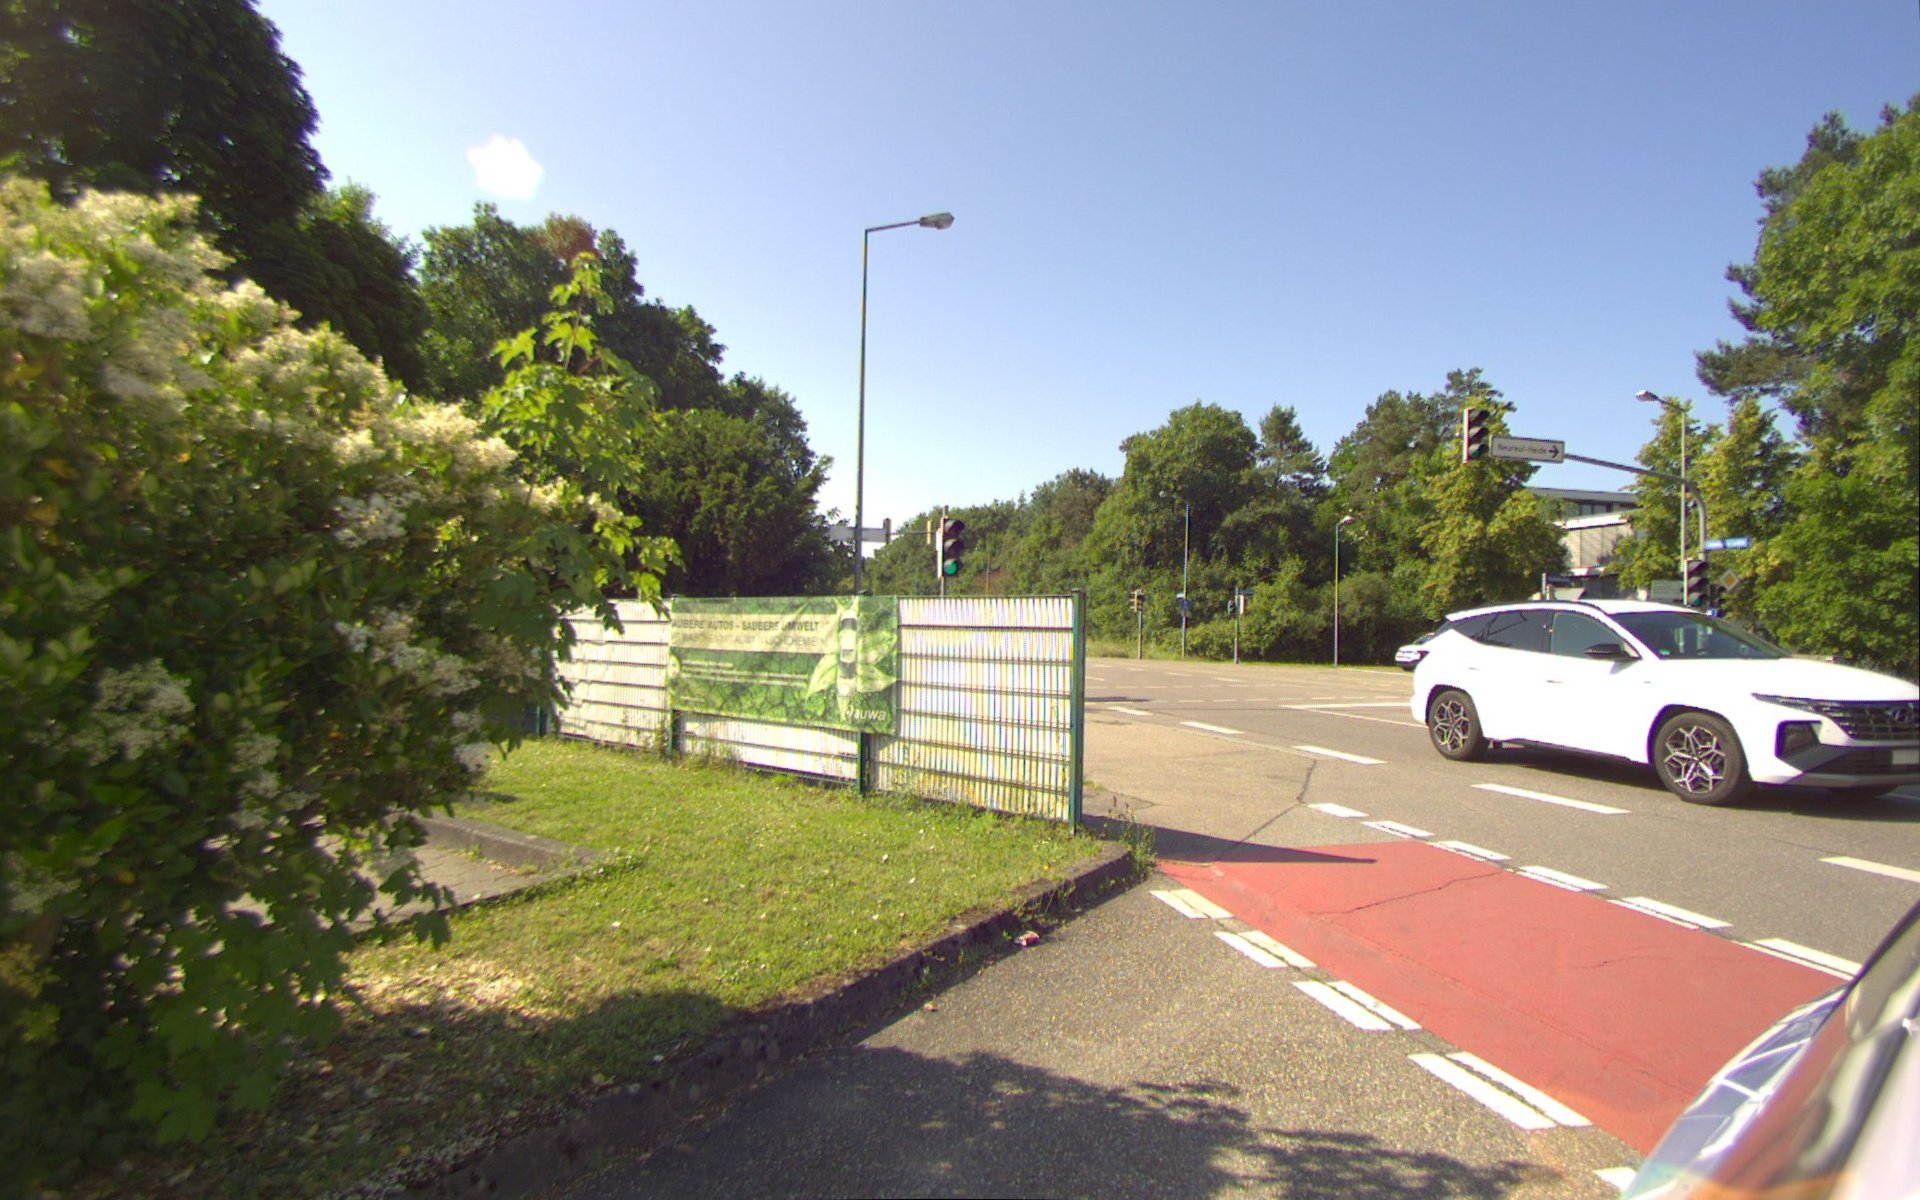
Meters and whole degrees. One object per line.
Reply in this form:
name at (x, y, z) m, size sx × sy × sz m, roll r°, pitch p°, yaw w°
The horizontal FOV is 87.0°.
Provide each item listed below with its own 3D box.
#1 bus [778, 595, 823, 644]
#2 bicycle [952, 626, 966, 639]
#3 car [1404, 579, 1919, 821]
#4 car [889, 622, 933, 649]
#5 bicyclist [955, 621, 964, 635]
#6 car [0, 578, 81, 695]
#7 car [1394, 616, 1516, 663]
bus at (-12.176, 1.416, 76.597) m, size 2.726 × 3.501 × 7.808 m, roll 0°, pitch -1°, yaw -14°
bicycle at (-0.059, 3.092, 96.930) m, size 0.719 × 1.178 × 2.377 m, roll 2°, pitch -2°, yaw -15°
car at (6.332, 0.729, 9.308) m, size 1.776 × 1.669 × 4.315 m, roll 0°, pitch -1°, yaw -15°
car at (-2.884, 2.035, 58.874) m, size 1.752 × 1.443 × 4.430 m, roll 0°, pitch -1°, yaw -13°
bicyclist at (-0.046, 2.675, 96.902) m, size 0.708 × 1.328 × 0.885 m, roll 2°, pitch -2°, yaw -15°
car at (-13.273, 0.456, 12.810) m, size 1.648 × 1.531 × 3.947 m, roll 2°, pitch -1°, yaw -15°
car at (21.654, 1.716, 44.316) m, size 4.564 × 1.801 × 1.856 m, roll 3°, pitch -1°, yaw -13°
